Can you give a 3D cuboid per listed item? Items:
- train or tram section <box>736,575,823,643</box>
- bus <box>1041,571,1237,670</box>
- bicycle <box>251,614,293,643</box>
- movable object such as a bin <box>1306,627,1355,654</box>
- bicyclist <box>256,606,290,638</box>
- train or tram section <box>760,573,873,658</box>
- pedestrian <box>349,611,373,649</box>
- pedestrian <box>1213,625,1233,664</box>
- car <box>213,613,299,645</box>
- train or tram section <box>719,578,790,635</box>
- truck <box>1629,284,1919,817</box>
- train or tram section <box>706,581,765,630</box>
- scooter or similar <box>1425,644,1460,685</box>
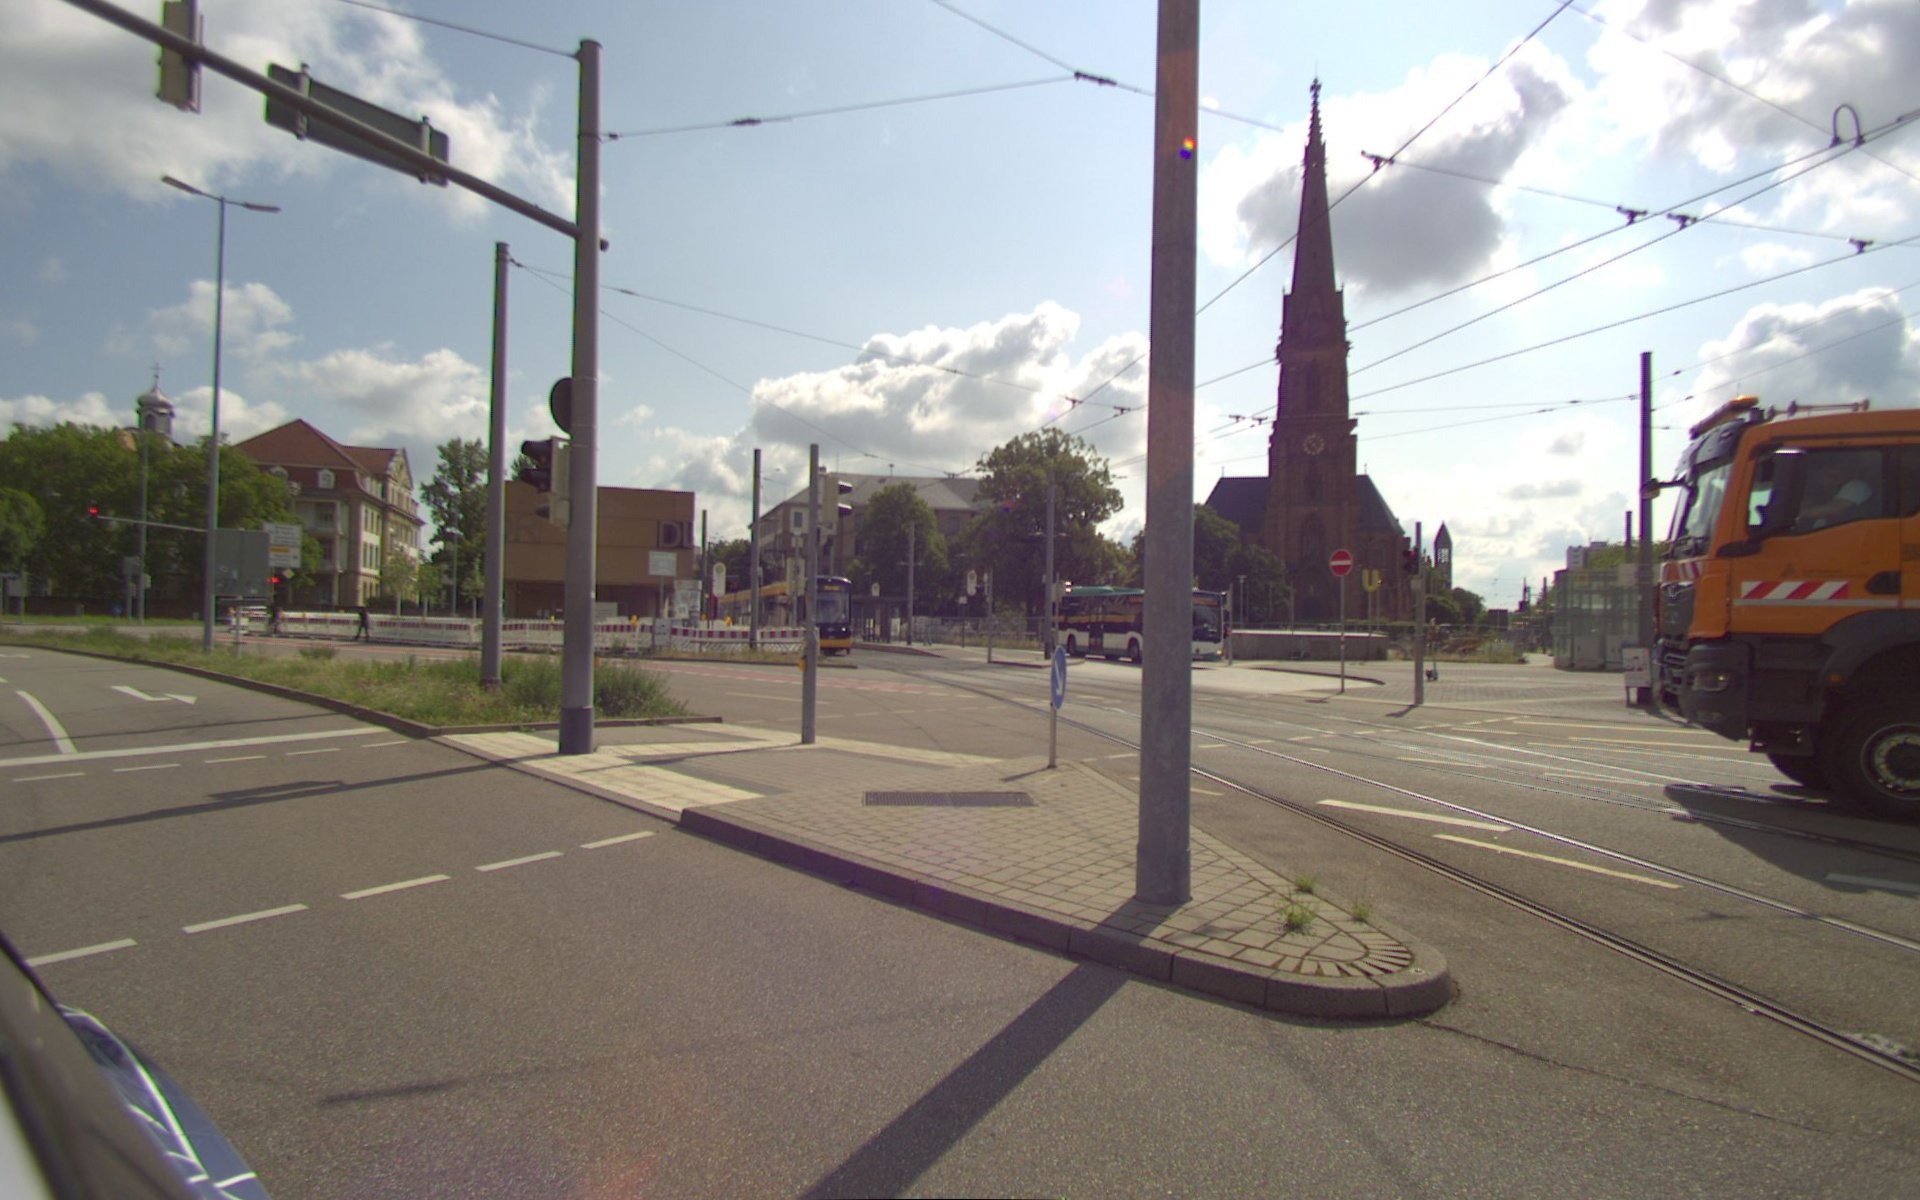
[{"bbox_3d":[-10.479,0.452,57.761,3.267,3.507,10.642,0,0,-19],"label":"train or tram section"},{"bbox_3d":[7.213,0.950,43.834,2.866,3.648,12.415,2,-2,-18],"label":"bus"},{"bbox_3d":[-34.624,1.431,50.932,2.287,1.421,0.962,0,-2,34],"label":"bicycle"},{"bbox_3d":[41.607,4.514,113.655,5.117,2.934,1.986,0,-2,21],"label":"movable object such as a bin"},{"bbox_3d":[-34.611,1.087,50.970,1.771,1.575,0.769,0,-2,33],"label":"bicyclist"},{"bbox_3d":[-7.009,0.625,47.626,3.267,3.507,10.642,0,0,-19],"label":"train or tram section"},{"bbox_3d":[-27.946,1.389,47.192,1.001,1.777,0.644,-1,-2,42],"label":"pedestrian"},{"bbox_3d":[12.257,2.079,47.215,0.708,1.808,0.564,2,-2,-20],"label":"pedestrian"},{"bbox_3d":[-41.998,1.748,60.498,3.931,1.796,2.006,2,-2,-27],"label":"car"},{"bbox_3d":[-13.936,0.411,67.816,3.267,3.507,10.642,0,0,-19],"label":"train or tram section"},{"bbox_3d":[10.219,-0.336,7.815,8.025,4.039,2.813,0,-2,25],"label":"truck"},{"bbox_3d":[-17.390,0.370,77.870,3.267,3.507,10.642,0,0,-19],"label":"train or tram section"},{"bbox_3d":[14.678,1.954,30.795,0.806,1.175,1.161,0,-2,18],"label":"scooter or similar"}]
